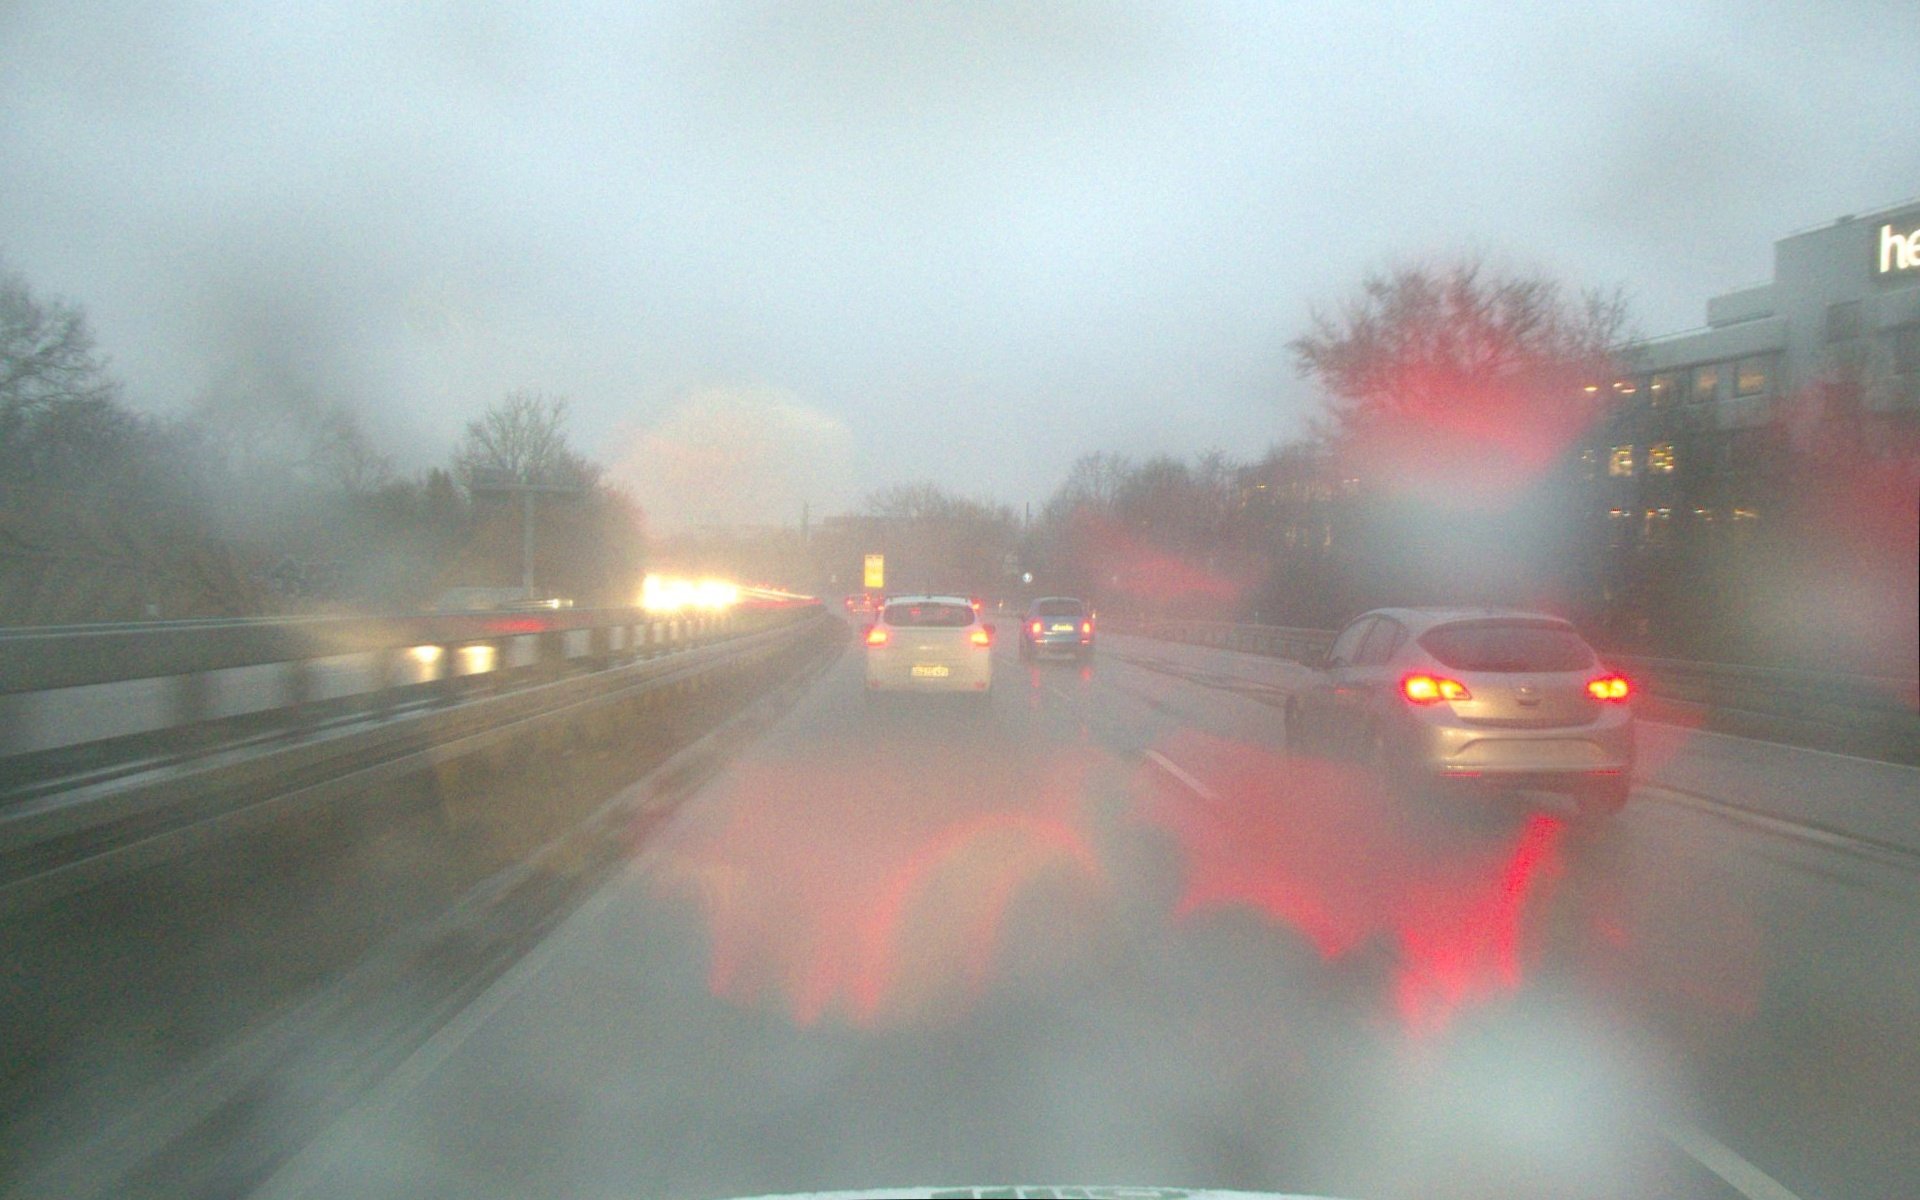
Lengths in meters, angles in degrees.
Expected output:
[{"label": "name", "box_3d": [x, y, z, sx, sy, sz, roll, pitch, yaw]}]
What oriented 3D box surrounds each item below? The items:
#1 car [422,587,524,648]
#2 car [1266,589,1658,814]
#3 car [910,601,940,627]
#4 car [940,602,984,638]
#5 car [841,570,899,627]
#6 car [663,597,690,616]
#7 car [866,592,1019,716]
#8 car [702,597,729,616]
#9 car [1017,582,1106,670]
[{"label": "car", "box_3d": [-12.505, 0.433, 42.670, 1.663, 1.466, 3.680, 1, 0, -3]}, {"label": "car", "box_3d": [3.854, 0.701, 13.509, 1.812, 1.528, 4.261, 1, 0, -2]}, {"label": "car", "box_3d": [-2.256, 0.892, 106.231, 1.893, 1.573, 3.772, 1, 0, -2]}, {"label": "car", "box_3d": [0.099, 0.998, 82.964, 1.895, 1.572, 3.771, -5, 0, -3]}, {"label": "car", "box_3d": [-3.406, -0.069, 61.945, 1.955, 2.049, 3.995, 1, 0, -6]}, {"label": "car", "box_3d": [-24.256, 0.516, 141.750, 1.801, 1.583, 4.352, 1, 0, -3]}, {"label": "car", "box_3d": [-0.325, 0.703, 23.562, 1.984, 1.602, 3.997, 1, 0, -3]}, {"label": "car", "box_3d": [-19.963, 0.520, 135.225, 1.801, 1.583, 4.351, 1, 0, -4]}, {"label": "car", "box_3d": [2.434, 0.611, 40.596, 1.893, 2.055, 3.773, 1, 0, -1]}]
